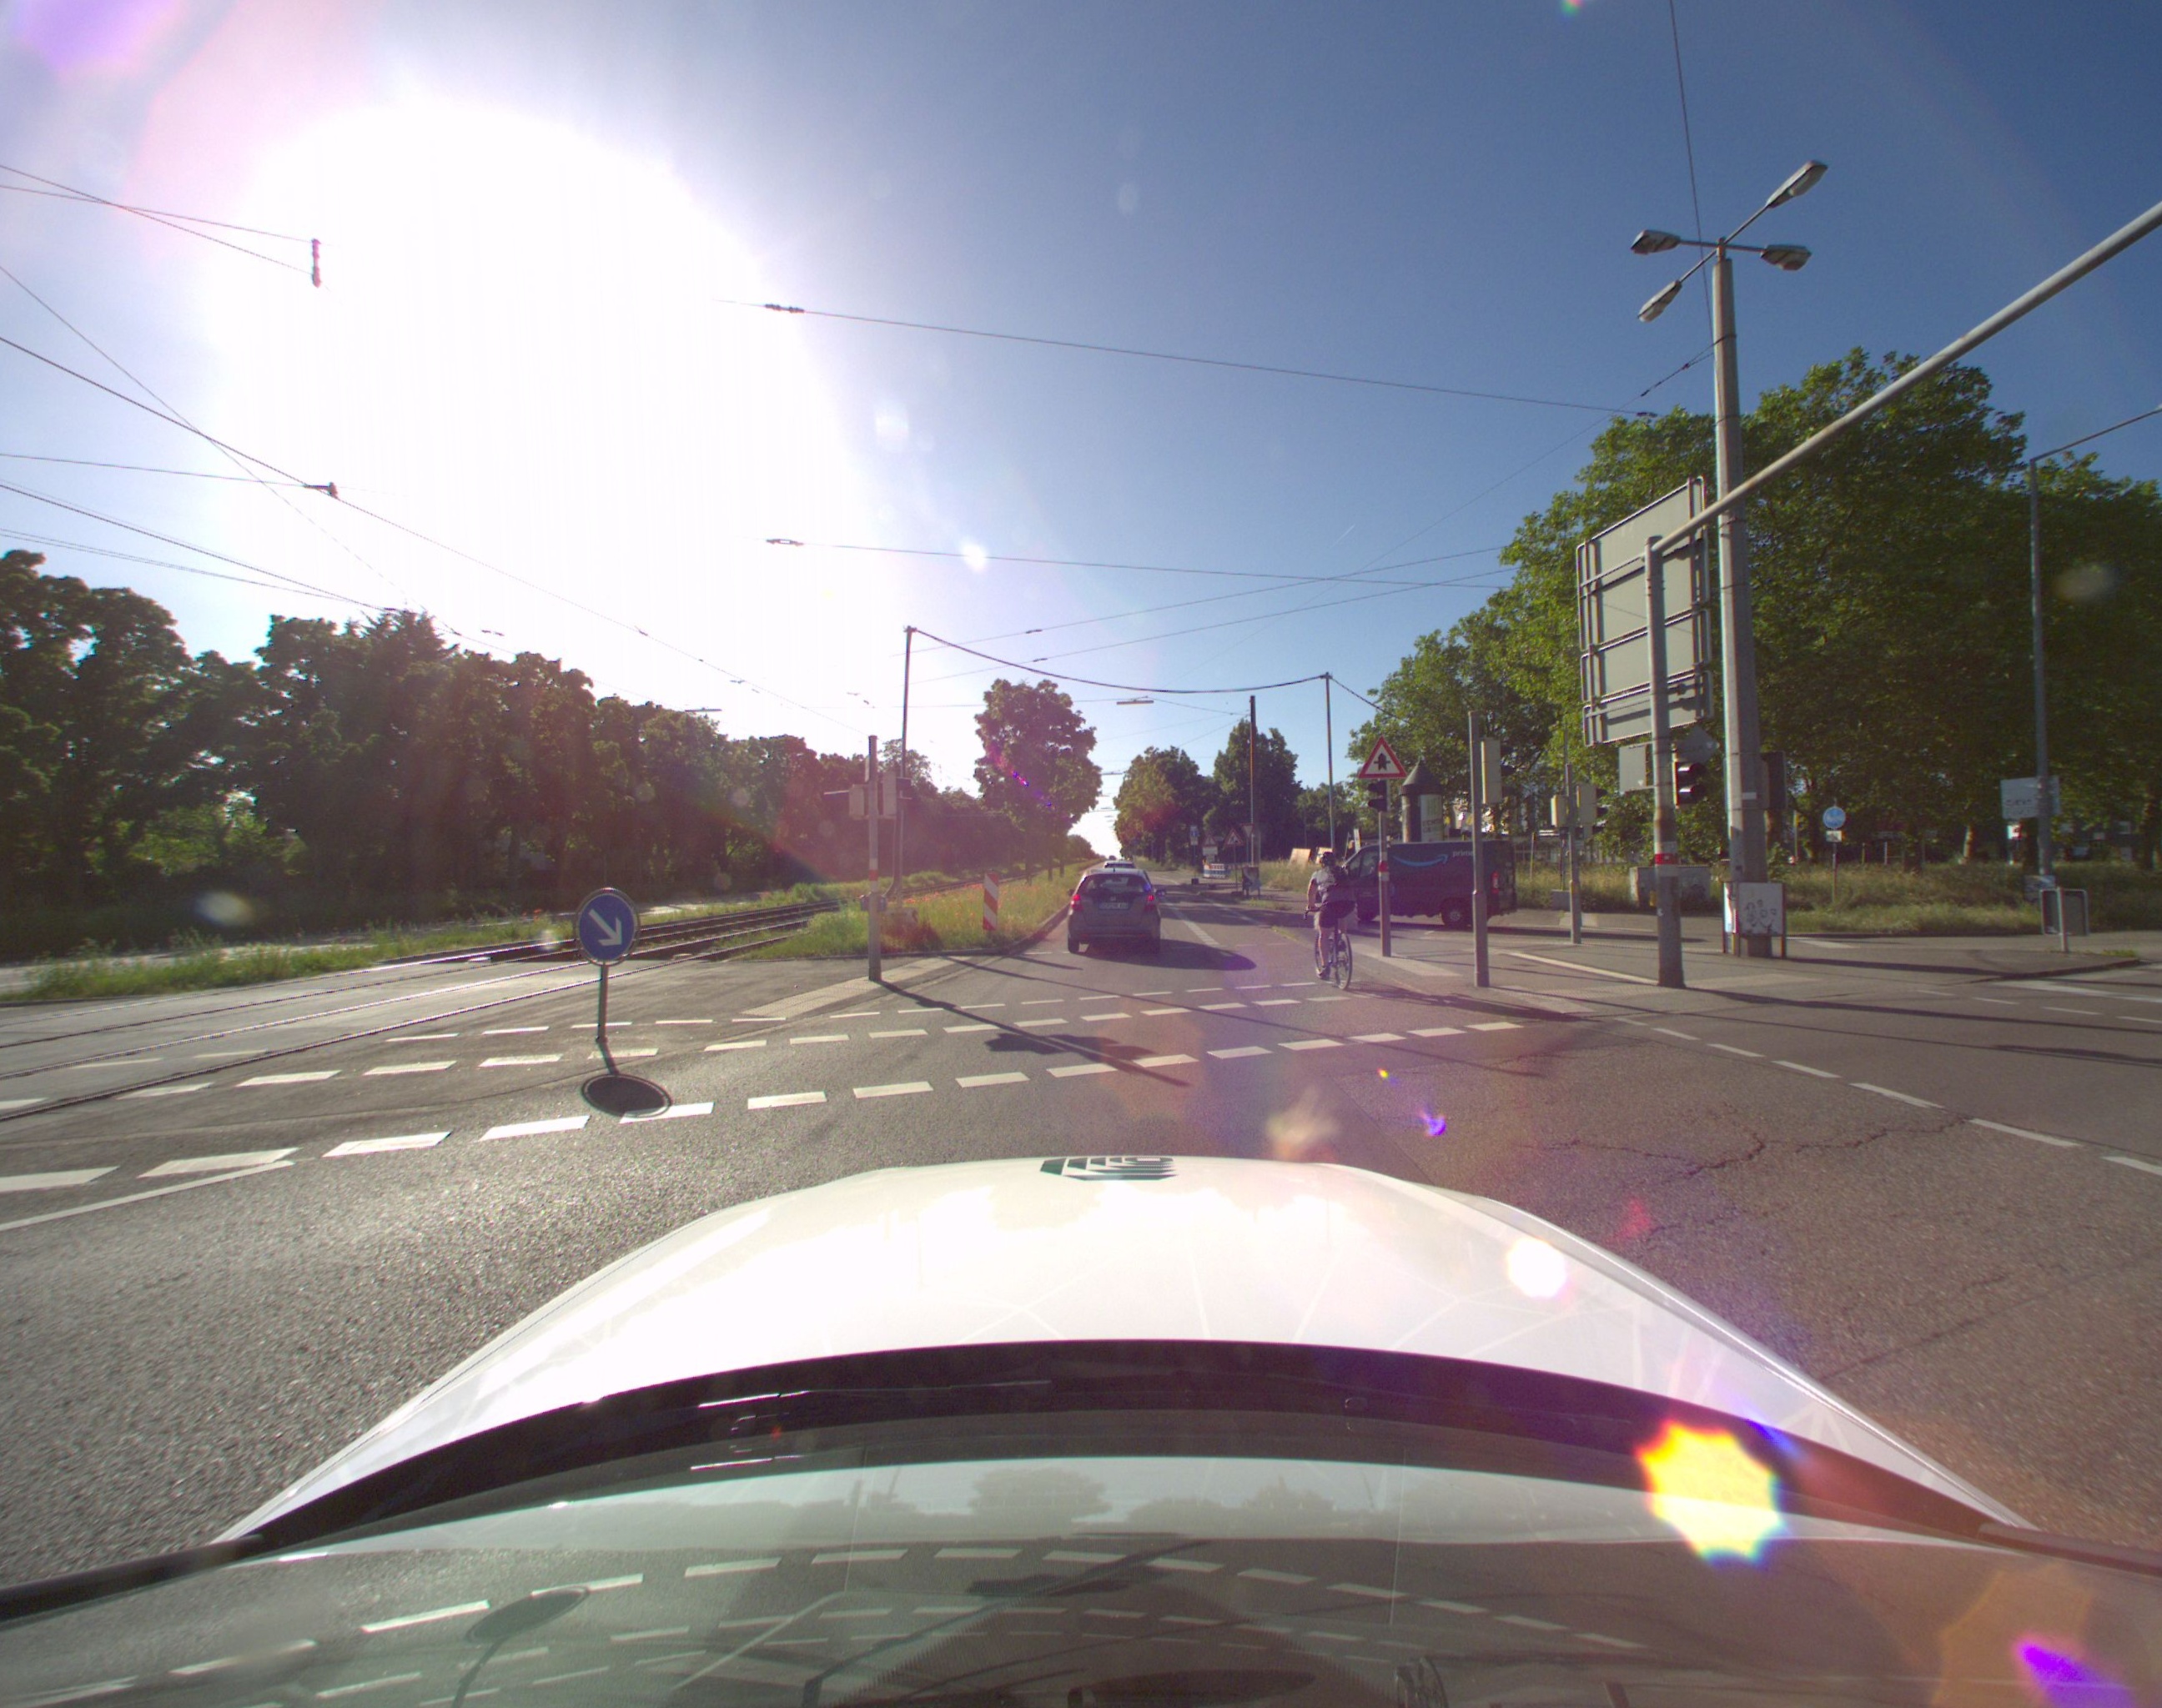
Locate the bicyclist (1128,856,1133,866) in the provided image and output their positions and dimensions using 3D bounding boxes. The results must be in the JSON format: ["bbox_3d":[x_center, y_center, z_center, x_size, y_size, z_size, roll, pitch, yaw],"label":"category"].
[{"bbox_3d":[7.617,1.015,125.537,0.814,1.524,0.967,0,-2,4],"label":"bicyclist"}]

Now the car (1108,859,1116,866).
[{"bbox_3d":[9.128,2.508,238.155,1.985,2.014,4.004,-2,-1,4],"label":"car"}]

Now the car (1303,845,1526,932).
[{"bbox_3d":[8.765,0.895,21.664,5.053,2.070,2.144,-2,-2,37],"label":"car"}]

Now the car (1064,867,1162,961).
[{"bbox_3d":[0.694,1.058,15.802,1.663,1.515,3.678,1,0,4],"label":"car"}]

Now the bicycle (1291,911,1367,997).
[{"bbox_3d":[3.243,1.271,10.806,0.521,0.923,2.092,-2,-2,5],"label":"bicycle"}]

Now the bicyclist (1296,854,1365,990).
[{"bbox_3d":[3.239,0.855,10.634,0.612,1.679,0.934,-2,-2,4],"label":"bicyclist"}]

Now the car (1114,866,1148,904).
[{"bbox_3d":[2.150,1.304,35.081,1.345,1.528,3.126,-2,-2,4],"label":"car"}]

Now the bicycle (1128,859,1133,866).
[{"bbox_3d":[7.608,1.370,125.505,0.814,1.048,2.508,0,-2,4],"label":"bicycle"}]
